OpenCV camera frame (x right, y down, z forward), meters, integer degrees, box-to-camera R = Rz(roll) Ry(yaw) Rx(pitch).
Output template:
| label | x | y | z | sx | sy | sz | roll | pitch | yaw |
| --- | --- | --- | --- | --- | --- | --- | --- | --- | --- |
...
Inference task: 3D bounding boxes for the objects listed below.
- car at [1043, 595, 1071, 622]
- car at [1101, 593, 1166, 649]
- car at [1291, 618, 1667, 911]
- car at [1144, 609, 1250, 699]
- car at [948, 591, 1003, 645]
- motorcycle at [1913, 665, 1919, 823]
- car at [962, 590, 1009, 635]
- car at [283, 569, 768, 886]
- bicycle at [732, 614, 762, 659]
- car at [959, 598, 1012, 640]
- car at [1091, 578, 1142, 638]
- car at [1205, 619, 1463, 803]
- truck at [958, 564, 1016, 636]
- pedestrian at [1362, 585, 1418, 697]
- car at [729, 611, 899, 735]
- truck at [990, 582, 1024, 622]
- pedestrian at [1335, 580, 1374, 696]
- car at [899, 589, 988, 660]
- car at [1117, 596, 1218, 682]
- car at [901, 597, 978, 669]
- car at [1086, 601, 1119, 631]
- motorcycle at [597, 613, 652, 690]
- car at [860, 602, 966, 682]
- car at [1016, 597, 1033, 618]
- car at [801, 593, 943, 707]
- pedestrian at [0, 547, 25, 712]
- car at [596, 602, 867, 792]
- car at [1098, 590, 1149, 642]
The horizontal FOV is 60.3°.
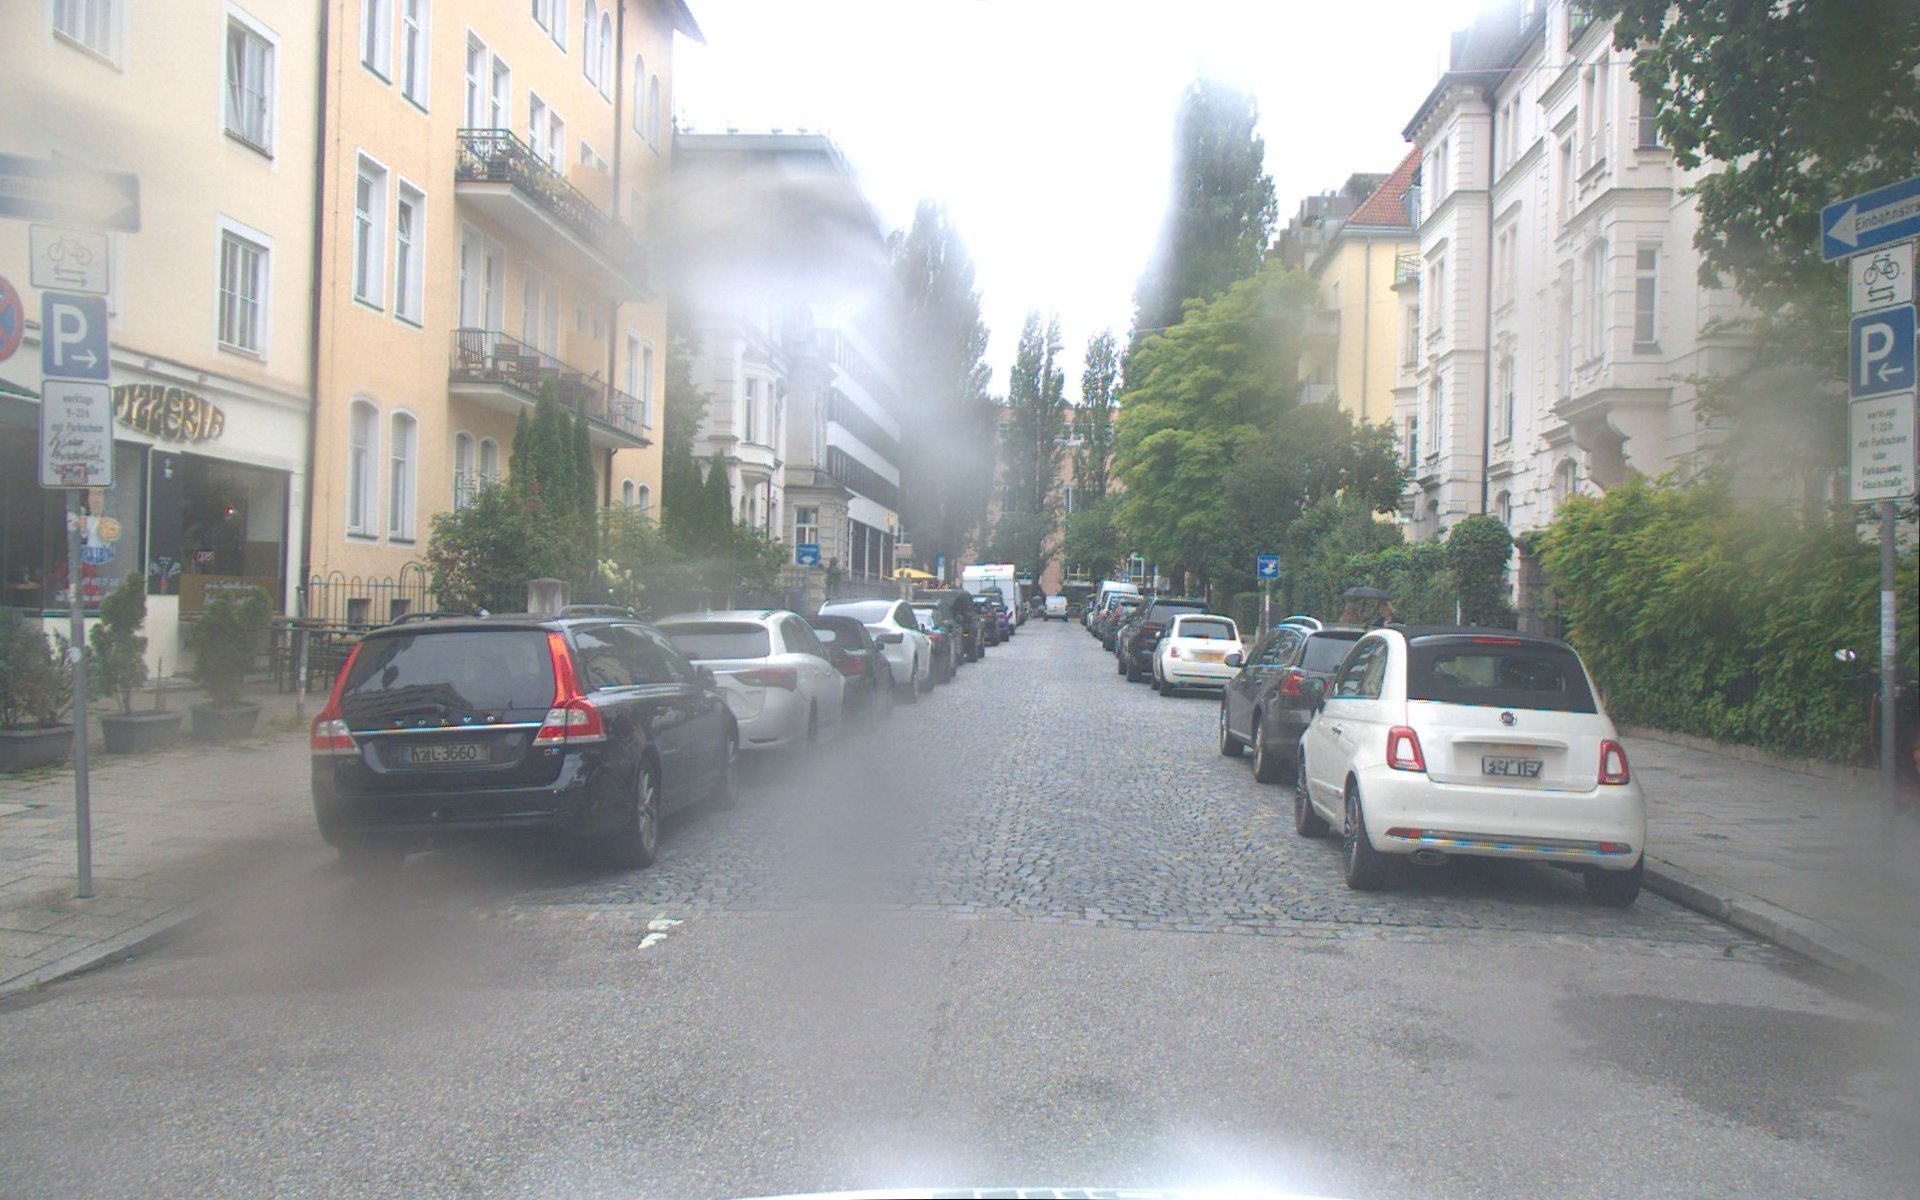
| label | x | y | z | sx | sy | sz | roll | pitch | yaw |
| --- | --- | --- | --- | --- | --- | --- | --- | --- | --- |
| car | 7.310 | 0.667 | 123.971 | 1.954 | 1.970 | 4.002 | 1 | -1 | 5 |
| car | 5.924 | 0.726 | 56.932 | 1.922 | 1.789 | 4.956 | 2 | 0 | 3 |
| car | 3.104 | 0.882 | 10.592 | 1.470 | 1.497 | 3.797 | 1 | -1 | 4 |
| car | 4.407 | 0.965 | 31.150 | 1.596 | 1.495 | 3.660 | 3 | 0 | 3 |
| car | 0.588 | 0.627 | 57.841 | 1.737 | 1.748 | 4.392 | 2 | 0 | 2 |
| motorcycle | 6.875 | 1.013 | 11.020 | 0.354 | 1.109 | 1.404 | 2 | -1 | 6 |
| car | 1.099 | 0.502 | 68.364 | 1.854 | 1.781 | 4.169 | 1 | 0 | 2 |
| car | -2.569 | 0.688 | 11.096 | 1.813 | 1.614 | 4.749 | 2 | 0 | 2 |
| bicycle | -5.010 | 0.849 | 38.970 | 0.344 | 1.020 | 1.573 | 2 | -1 | 5 |
| car | 1.006 | 0.708 | 63.097 | 1.899 | 1.485 | 4.059 | 2 | 0 | 2 |
| car | 7.081 | 0.314 | 75.415 | 1.856 | 2.468 | 5.613 | 5 | 1 | 3 |
| car | 3.576 | 0.985 | 16.622 | 1.614 | 1.446 | 4.633 | 5 | 0 | 2 |
| truck | 1.274 | -0.028 | 74.434 | 2.456 | 3.085 | 6.386 | -1 | 0 | 2 |
| pedestrian | 7.206 | 0.680 | 27.736 | 0.618 | 1.840 | 0.656 | 2 | -1 | -20 |
| car | -1.764 | 0.860 | 21.277 | 1.737 | 1.383 | 4.391 | 2 | 0 | 0 |
| truck | 2.960 | 0.165 | 103.130 | 1.952 | 2.388 | 4.069 | 2 | -1 | 3 |
| pedestrian | 6.515 | 0.626 | 27.337 | 0.563 | 1.882 | 0.682 | 1 | 0 | 11 |
| car | -0.385 | 0.616 | 44.574 | 1.941 | 1.768 | 4.725 | 2 | 0 | 4 |
| car | 4.491 | 0.817 | 36.453 | 1.835 | 1.702 | 5.493 | 2 | 0 | 4 |
| car | -0.445 | 0.785 | 39.675 | 1.546 | 1.618 | 4.058 | -1 | -1 | 4 |
| car | 7.551 | 0.858 | 88.030 | 1.566 | 1.512 | 3.480 | 2 | 0 | 3 |
| motorcycle | -5.505 | 0.822 | 27.206 | 0.480 | 1.215 | 1.580 | 1 | 0 | 3 |
| car | -0.881 | 0.811 | 33.395 | 1.736 | 1.454 | 4.392 | 2 | 0 | 3 |
| car | 5.067 | 0.617 | 129.070 | 1.250 | 1.568 | 3.120 | 2 | 0 | 3 |
| car | -1.355 | 0.776 | 27.191 | 1.736 | 1.676 | 4.393 | 2 | 0 | 4 |
| pedestrian | -10.212 | 0.300 | 17.314 | 0.452 | 1.720 | 0.574 | 2 | -1 | 3 |
| car | -2.031 | 0.828 | 15.995 | 1.736 | 1.563 | 4.542 | -1 | -1 | 3 |
| car | 6.871 | 0.684 | 69.733 | 1.763 | 1.983 | 4.862 | 4 | 0 | 3 |
